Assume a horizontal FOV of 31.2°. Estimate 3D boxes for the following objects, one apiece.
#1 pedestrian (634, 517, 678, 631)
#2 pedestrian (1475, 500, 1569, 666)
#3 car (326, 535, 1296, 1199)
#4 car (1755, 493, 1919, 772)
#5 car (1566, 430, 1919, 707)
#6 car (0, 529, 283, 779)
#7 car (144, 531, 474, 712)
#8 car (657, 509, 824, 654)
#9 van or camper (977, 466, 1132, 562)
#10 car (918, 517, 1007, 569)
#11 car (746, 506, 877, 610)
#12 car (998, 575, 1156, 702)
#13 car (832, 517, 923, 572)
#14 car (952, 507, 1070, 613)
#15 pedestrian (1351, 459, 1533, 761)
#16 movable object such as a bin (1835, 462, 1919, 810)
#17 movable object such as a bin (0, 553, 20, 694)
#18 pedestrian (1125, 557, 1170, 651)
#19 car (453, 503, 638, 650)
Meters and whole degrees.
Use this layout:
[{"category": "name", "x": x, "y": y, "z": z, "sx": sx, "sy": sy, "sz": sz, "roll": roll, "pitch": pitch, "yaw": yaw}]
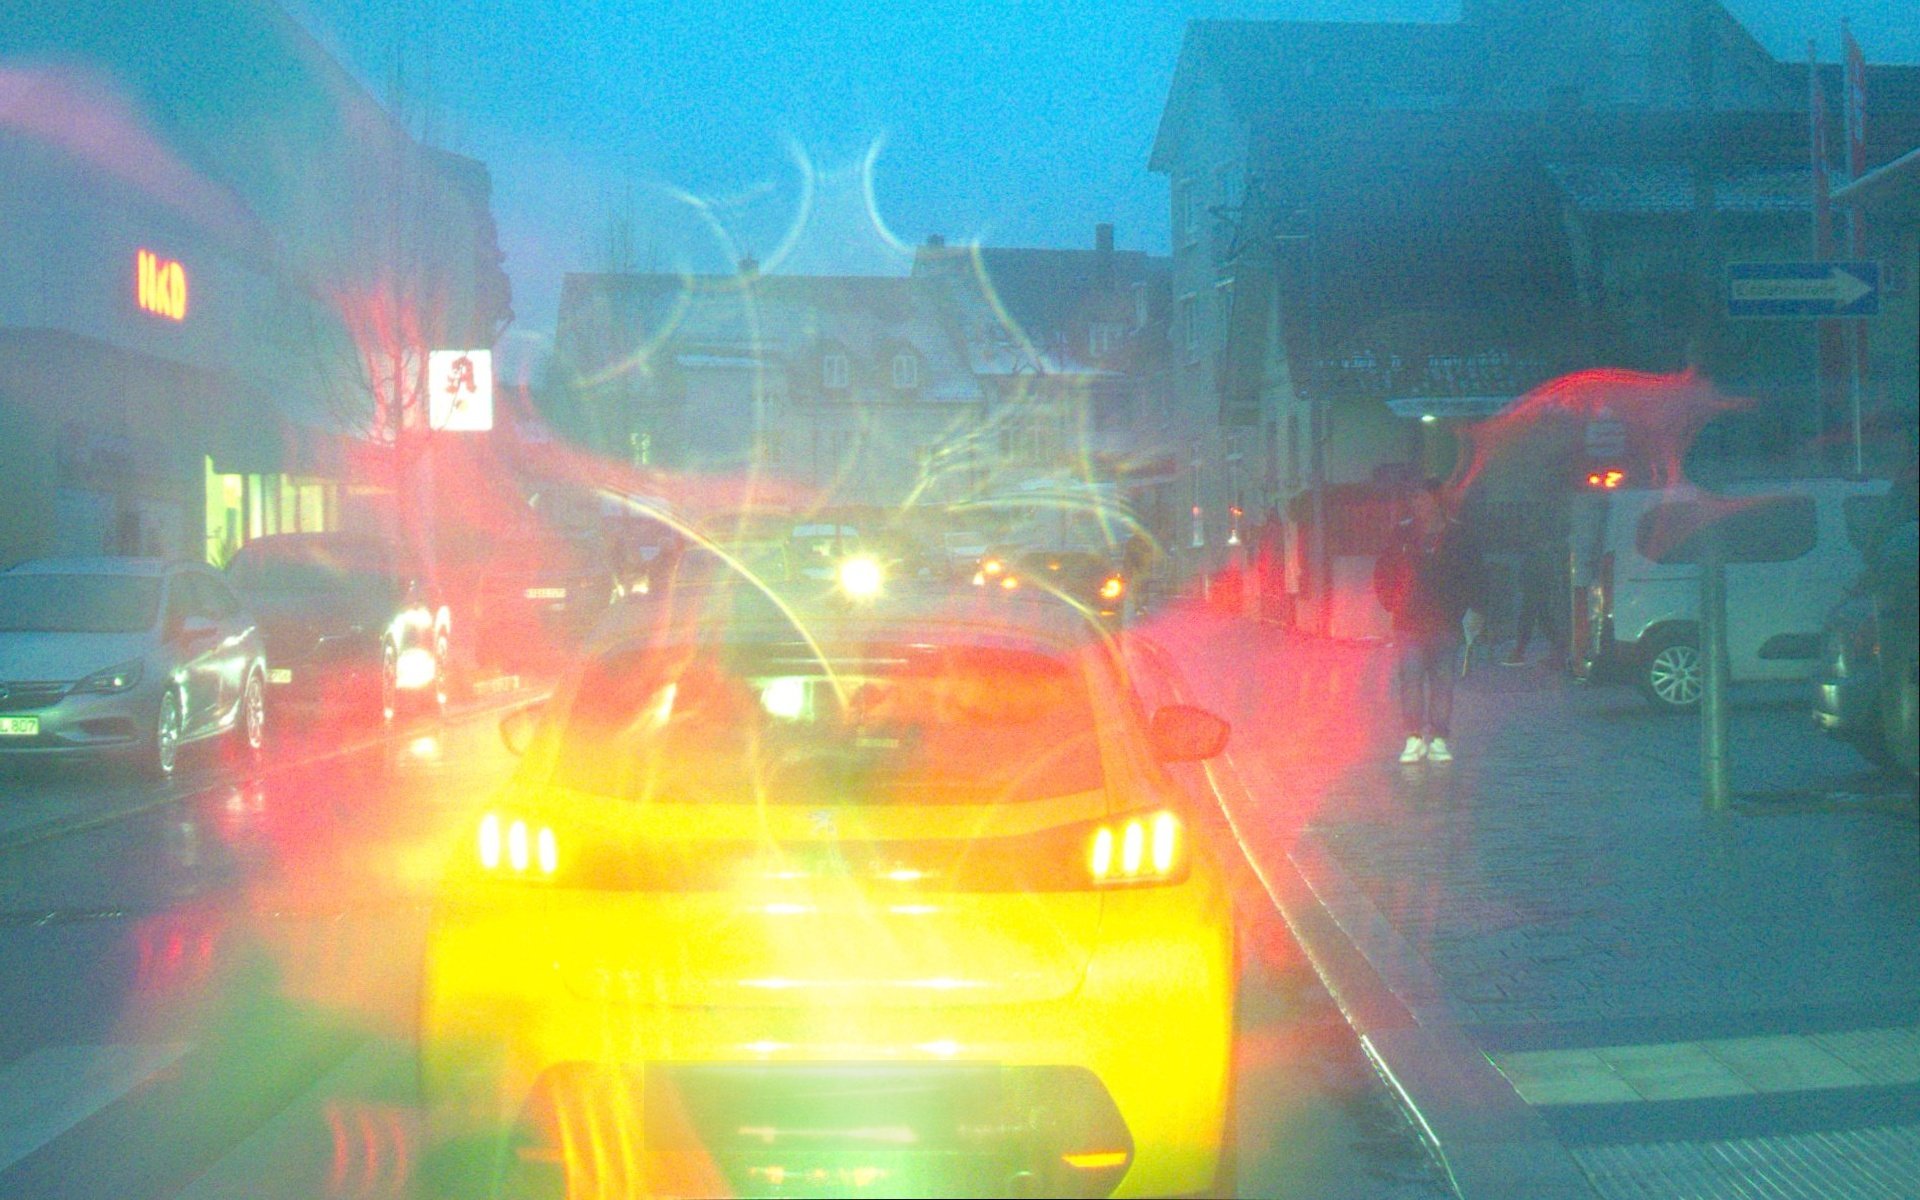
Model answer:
[{"category": "pedestrian", "x": -4.247, "y": -0.369, "z": 48.037, "sx": 0.574, "sy": 1.580, "sz": 0.530, "roll": 0, "pitch": 2, "yaw": -3}, {"category": "pedestrian", "x": 5.896, "y": -0.183, "z": 36.100, "sx": 0.842, "sy": 1.699, "sz": 0.839, "roll": -2, "pitch": 1, "yaw": 4}, {"category": "car", "x": -0.266, "y": 0.626, "z": 8.490, "sx": 1.814, "sy": 1.528, "sz": 4.000, "roll": 1, "pitch": 1, "yaw": 1}, {"category": "car", "x": 6.643, "y": 0.144, "z": 19.241, "sx": 3.987, "sy": 1.481, "sz": 1.912, "roll": -1, "pitch": 0, "yaw": 4}, {"category": "car", "x": 6.943, "y": -0.281, "z": 27.293, "sx": 4.092, "sy": 2.042, "sz": 1.999, "roll": -2, "pitch": 1, "yaw": 9}, {"category": "car", "x": -6.206, "y": 0.294, "z": 23.896, "sx": 1.993, "sy": 1.552, "sz": 4.621, "roll": 1, "pitch": 1, "yaw": 1}, {"category": "car", "x": -5.803, "y": 0.145, "z": 31.267, "sx": 1.993, "sy": 1.517, "sz": 4.978, "roll": 0, "pitch": 1, "yaw": 1}, {"category": "car", "x": -2.888, "y": -0.298, "z": 46.190, "sx": 1.993, "sy": 1.700, "sz": 4.968, "roll": 2, "pitch": 2, "yaw": -1}, {"category": "van or camper", "x": 3.170, "y": -2.909, "z": 117.109, "sx": 2.650, "sy": 3.037, "sz": 6.736, "roll": -4, "pitch": 2, "yaw": -22}, {"category": "car", "x": 0.059, "y": -1.928, "z": 116.388, "sx": 1.993, "sy": 1.605, "sz": 4.175, "roll": -2, "pitch": 0, "yaw": -14}, {"category": "car", "x": -2.605, "y": -0.761, "z": 59.270, "sx": 1.951, "sy": 1.541, "sz": 4.417, "roll": 2, "pitch": 3, "yaw": -6}, {"category": "car", "x": 1.530, "y": 0.479, "z": 46.123, "sx": 1.993, "sy": 1.583, "sz": 4.000, "roll": 1, "pitch": 1, "yaw": 1}, {"category": "car", "x": -2.804, "y": -1.885, "z": 116.064, "sx": 1.993, "sy": 1.759, "sz": 4.352, "roll": -2, "pitch": 2, "yaw": -16}, {"category": "car", "x": 0.903, "y": -0.739, "z": 63.030, "sx": 1.993, "sy": 1.851, "sz": 4.000, "roll": 1, "pitch": 1, "yaw": -1}, {"category": "pedestrian", "x": 3.085, "y": 0.057, "z": 22.094, "sx": 0.966, "sy": 1.883, "sz": 1.006, "roll": 1, "pitch": 1, "yaw": -2}, {"category": "movable object such as a bin", "x": 5.167, "y": 0.128, "z": 16.753, "sx": 1.392, "sy": 1.638, "sz": 1.262, "roll": -2, "pitch": 1, "yaw": -2}, {"category": "movable object such as a bin", "x": -9.870, "y": 0.259, "z": 33.253, "sx": 1.340, "sy": 1.349, "sz": 0.889, "roll": -3, "pitch": 1, "yaw": -9}, {"category": "pedestrian", "x": 3.505, "y": 0.067, "z": 64.249, "sx": 0.745, "sy": 1.723, "sz": 0.873, "roll": 0, "pitch": 2, "yaw": -2}, {"category": "car", "x": -5.293, "y": -0.349, "z": 44.440, "sx": 2.085, "sy": 1.786, "sz": 5.025, "roll": 0, "pitch": 1, "yaw": -4}]
